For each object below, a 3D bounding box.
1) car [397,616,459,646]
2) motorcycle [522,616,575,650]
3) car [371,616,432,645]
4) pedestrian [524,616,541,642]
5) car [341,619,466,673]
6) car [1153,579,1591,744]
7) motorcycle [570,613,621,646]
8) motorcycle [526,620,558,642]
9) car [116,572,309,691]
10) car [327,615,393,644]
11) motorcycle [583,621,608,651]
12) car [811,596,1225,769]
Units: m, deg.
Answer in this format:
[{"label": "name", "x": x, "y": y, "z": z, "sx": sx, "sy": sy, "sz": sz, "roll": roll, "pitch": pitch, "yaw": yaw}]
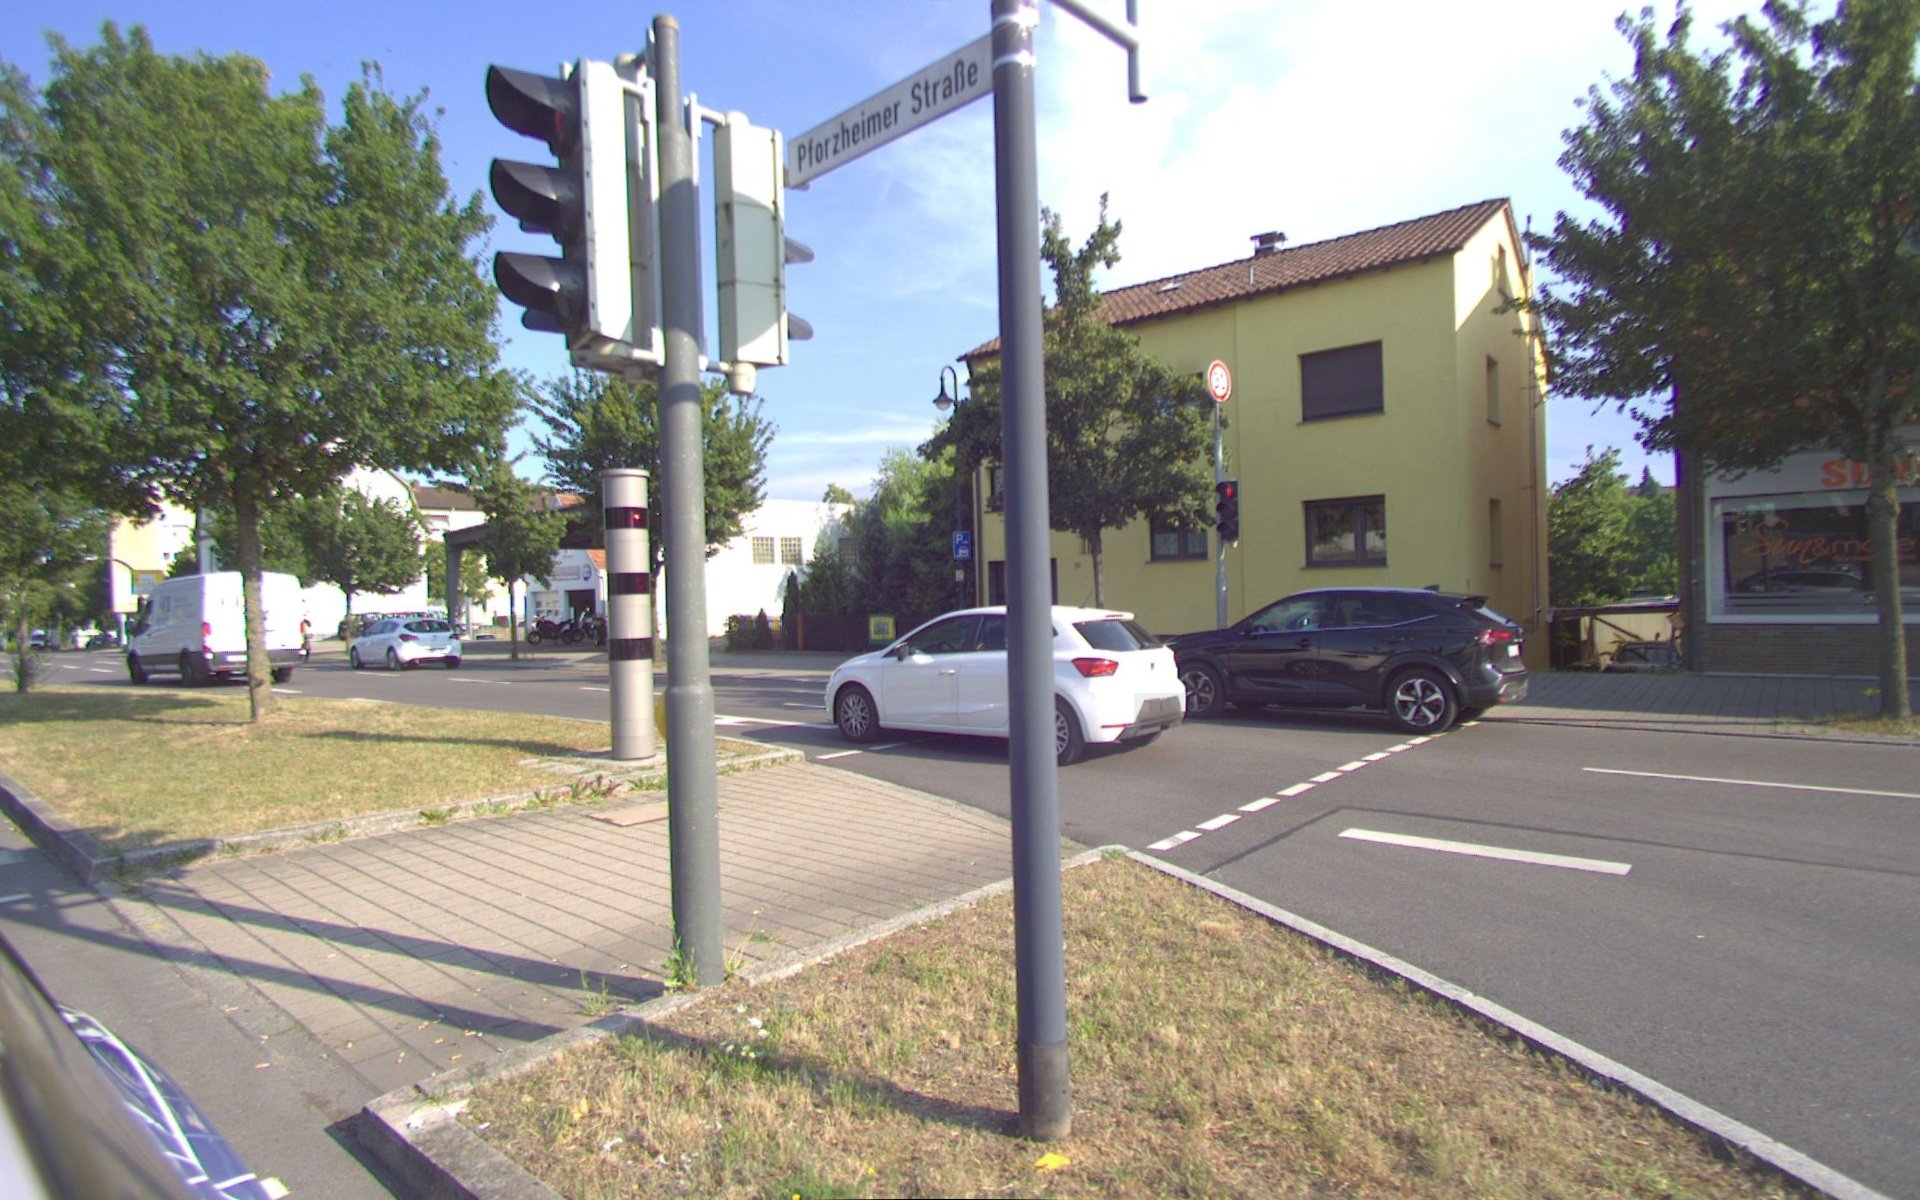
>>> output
[{"label": "car", "x": -29.709, "y": 1.706, "z": 56.582, "sx": 1.599, "sy": 1.555, "sz": 3.430, "roll": -1, "pitch": -1, "yaw": 1}, {"label": "motorcycle", "x": -17.288, "y": 1.379, "z": 42.524, "sx": 2.095, "sy": 1.332, "sz": 0.487, "roll": -2, "pitch": -1, "yaw": 10}, {"label": "car", "x": -32.024, "y": 1.726, "z": 58.144, "sx": 1.565, "sy": 1.576, "sz": 3.430, "roll": -1, "pitch": -1, "yaw": 1}, {"label": "pedestrian", "x": -22.826, "y": 1.540, "z": 54.028, "sx": 0.583, "sy": 1.350, "sz": 0.590, "roll": -2, "pitch": -1, "yaw": 33}, {"label": "car", "x": -16.054, "y": 1.301, "z": 29.119, "sx": 4.209, "sy": 1.425, "sz": 1.675, "roll": -2, "pitch": -1, "yaw": 39}, {"label": "car", "x": 4.722, "y": 0.637, "z": 12.061, "sx": 4.460, "sy": 1.607, "sz": 1.835, "roll": -2, "pitch": -1, "yaw": 43}, {"label": "motorcycle", "x": -15.907, "y": 1.286, "z": 44.193, "sx": 2.094, "sy": 1.332, "sz": 0.487, "roll": -2, "pitch": -1, "yaw": 8}, {"label": "motorcycle", "x": -22.489, "y": 1.681, "z": 54.459, "sx": 2.113, "sy": 1.155, "sz": 0.483, "roll": -3, "pitch": -1, "yaw": 34}, {"label": "car", "x": -17.507, "y": 0.722, "z": 23.599, "sx": 5.467, "sy": 2.494, "sz": 2.066, "roll": -2, "pitch": -1, "yaw": 36}, {"label": "car", "x": -34.604, "y": 1.683, "z": 58.460, "sx": 1.835, "sy": 1.638, "sz": 3.411, "roll": -1, "pitch": -1, "yaw": -1}, {"label": "motorcycle", "x": -14.201, "y": 1.374, "z": 39.488, "sx": 0.542, "sy": 1.107, "sz": 2.052, "roll": -2, "pitch": -1, "yaw": -10}, {"label": "car", "x": 0.463, "y": 0.731, "z": 10.391, "sx": 3.997, "sy": 1.422, "sz": 1.739, "roll": -2, "pitch": -1, "yaw": 40}]
